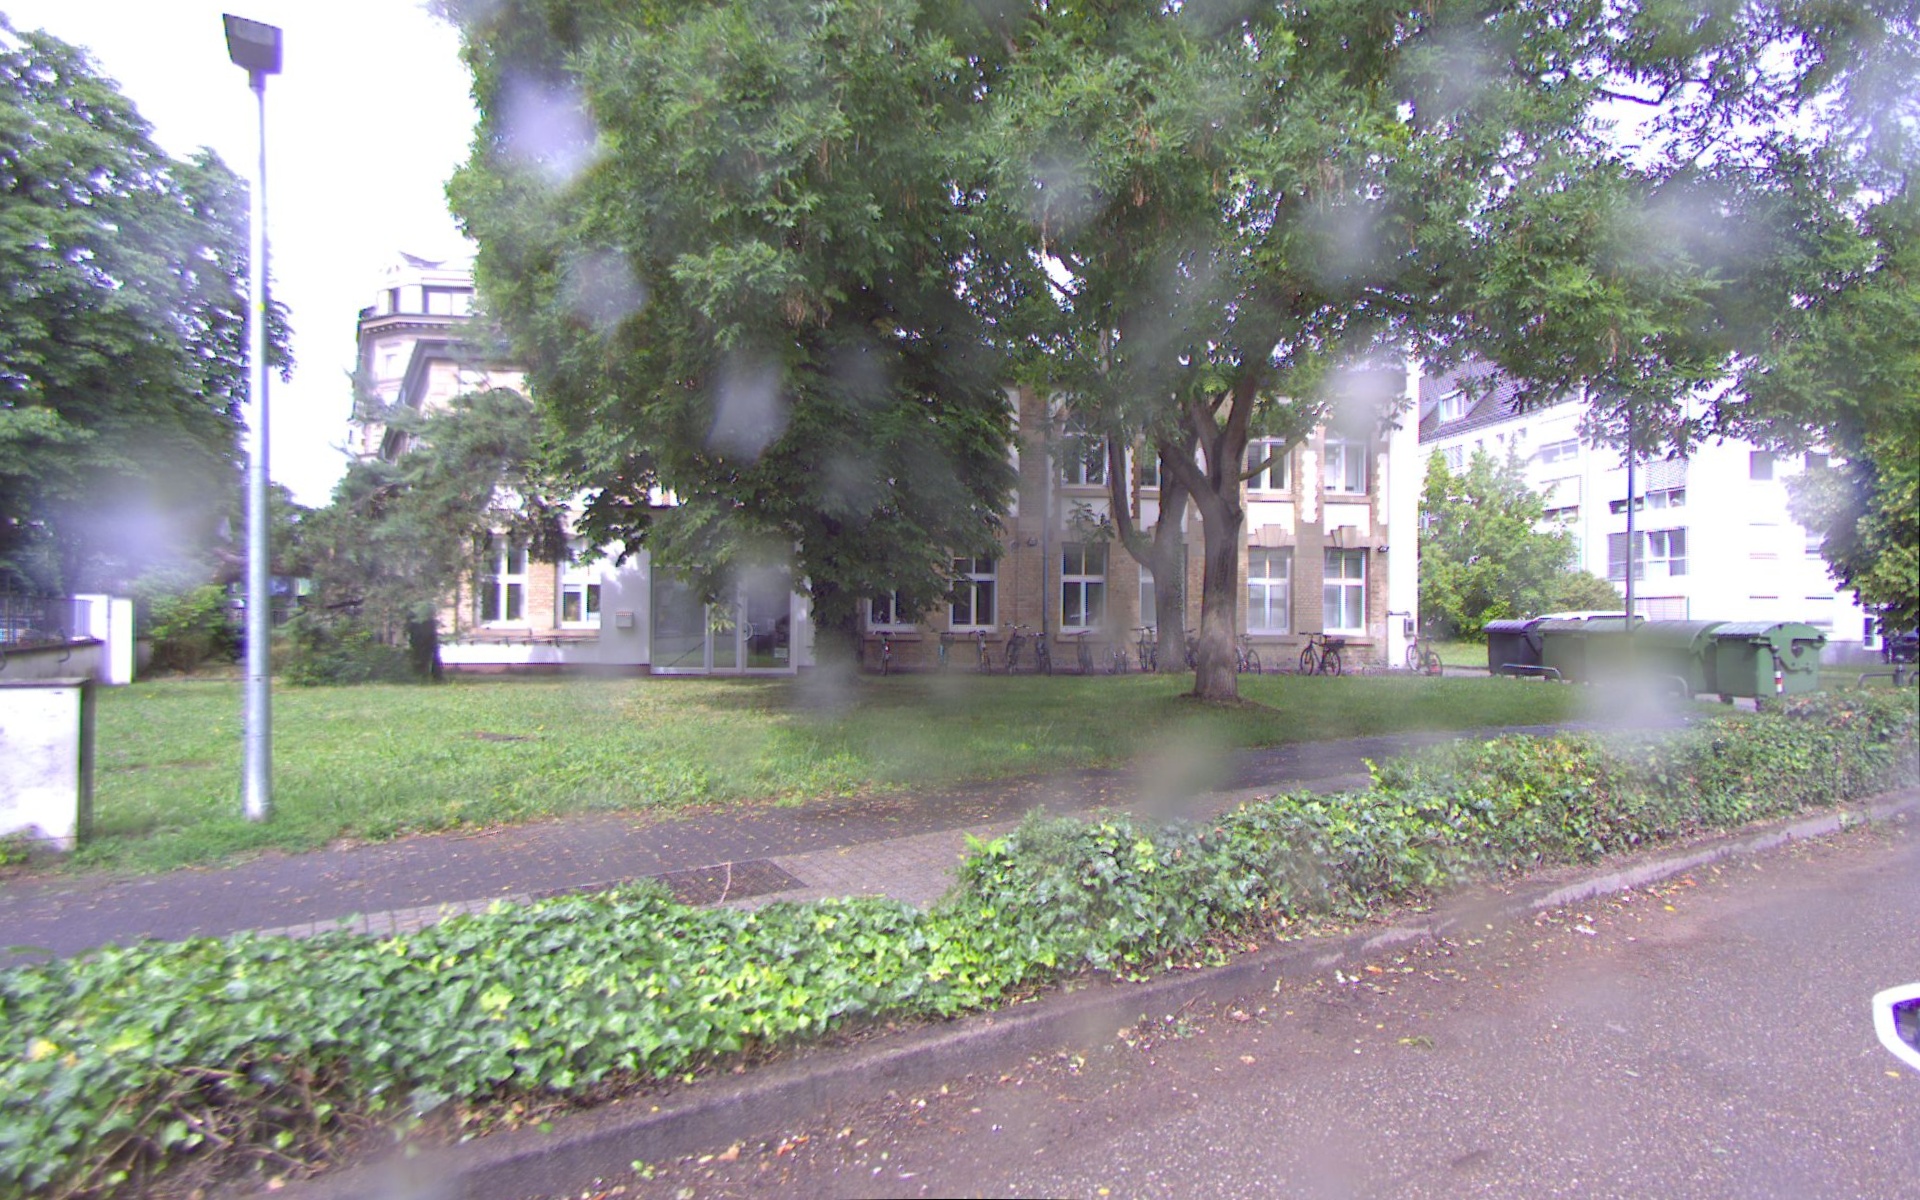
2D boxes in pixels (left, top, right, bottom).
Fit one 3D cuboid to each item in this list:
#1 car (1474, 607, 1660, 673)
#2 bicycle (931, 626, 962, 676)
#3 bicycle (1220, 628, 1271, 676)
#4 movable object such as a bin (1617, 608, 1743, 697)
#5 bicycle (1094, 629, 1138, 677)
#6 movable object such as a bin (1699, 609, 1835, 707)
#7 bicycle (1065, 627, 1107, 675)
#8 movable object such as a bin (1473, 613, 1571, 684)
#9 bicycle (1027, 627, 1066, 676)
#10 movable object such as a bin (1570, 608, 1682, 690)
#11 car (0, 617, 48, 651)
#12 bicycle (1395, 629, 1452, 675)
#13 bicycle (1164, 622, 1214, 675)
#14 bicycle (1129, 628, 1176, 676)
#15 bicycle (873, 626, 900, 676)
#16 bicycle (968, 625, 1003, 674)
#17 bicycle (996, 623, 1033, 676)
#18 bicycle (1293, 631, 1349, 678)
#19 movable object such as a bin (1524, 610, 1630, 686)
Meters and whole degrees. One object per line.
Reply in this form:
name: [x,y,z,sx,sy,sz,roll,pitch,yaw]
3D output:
car: [19.529,1.309,32.436,4.795,1.951,2.099,1,-2,-3]
bicycle: [-0.336,1.192,23.821,0.605,1.130,1.925,0,-2,-5]
bicycle: [7.039,1.273,24.844,0.605,1.130,1.787,0,-2,-5]
movable object such as a bin: [12.811,0.910,17.927,1.148,1.503,1.399,1,0,-12]
bicycle: [3.764,1.268,24.419,0.605,1.130,1.925,0,-2,-5]
movable object such as a bin: [13.148,0.919,16.427,1.082,1.492,1.486,1,-1,5]
bicycle: [3.044,1.223,24.431,0.605,1.130,1.925,0,-2,-5]
movable object such as a bin: [12.509,1.064,22.416,1.147,1.502,1.592,-1,-1,-10]
bicycle: [2.069,1.234,24.266,0.605,1.130,1.925,0,-2,-5]
movable object such as a bin: [12.805,0.919,19.372,1.147,1.503,1.400,1,0,-9]
car: [-45.595,1.613,48.690,1.597,1.535,2.584,-1,0,-32]
bicycle: [11.688,1.294,25.365,0.605,1.130,1.519,0,-2,-5]
bicycle: [5.601,1.187,24.670,0.605,1.240,1.925,0,-2,-5]
bicycle: [4.694,1.255,24.584,0.605,1.130,1.925,0,-2,-5]
bicycle: [-1.742,1.180,23.670,0.605,1.130,1.925,0,-2,-5]
bicycle: [0.598,1.172,24.134,0.605,1.130,1.925,0,-2,-5]
bicycle: [1.289,1.170,24.133,0.605,1.193,1.925,0,0,-5]
bicycle: [8.986,1.342,25.055,0.605,1.130,1.787,0,-2,-5]
movable object such as a bin: [12.787,0.988,20.859,1.147,1.502,1.494,-1,-1,-10]
